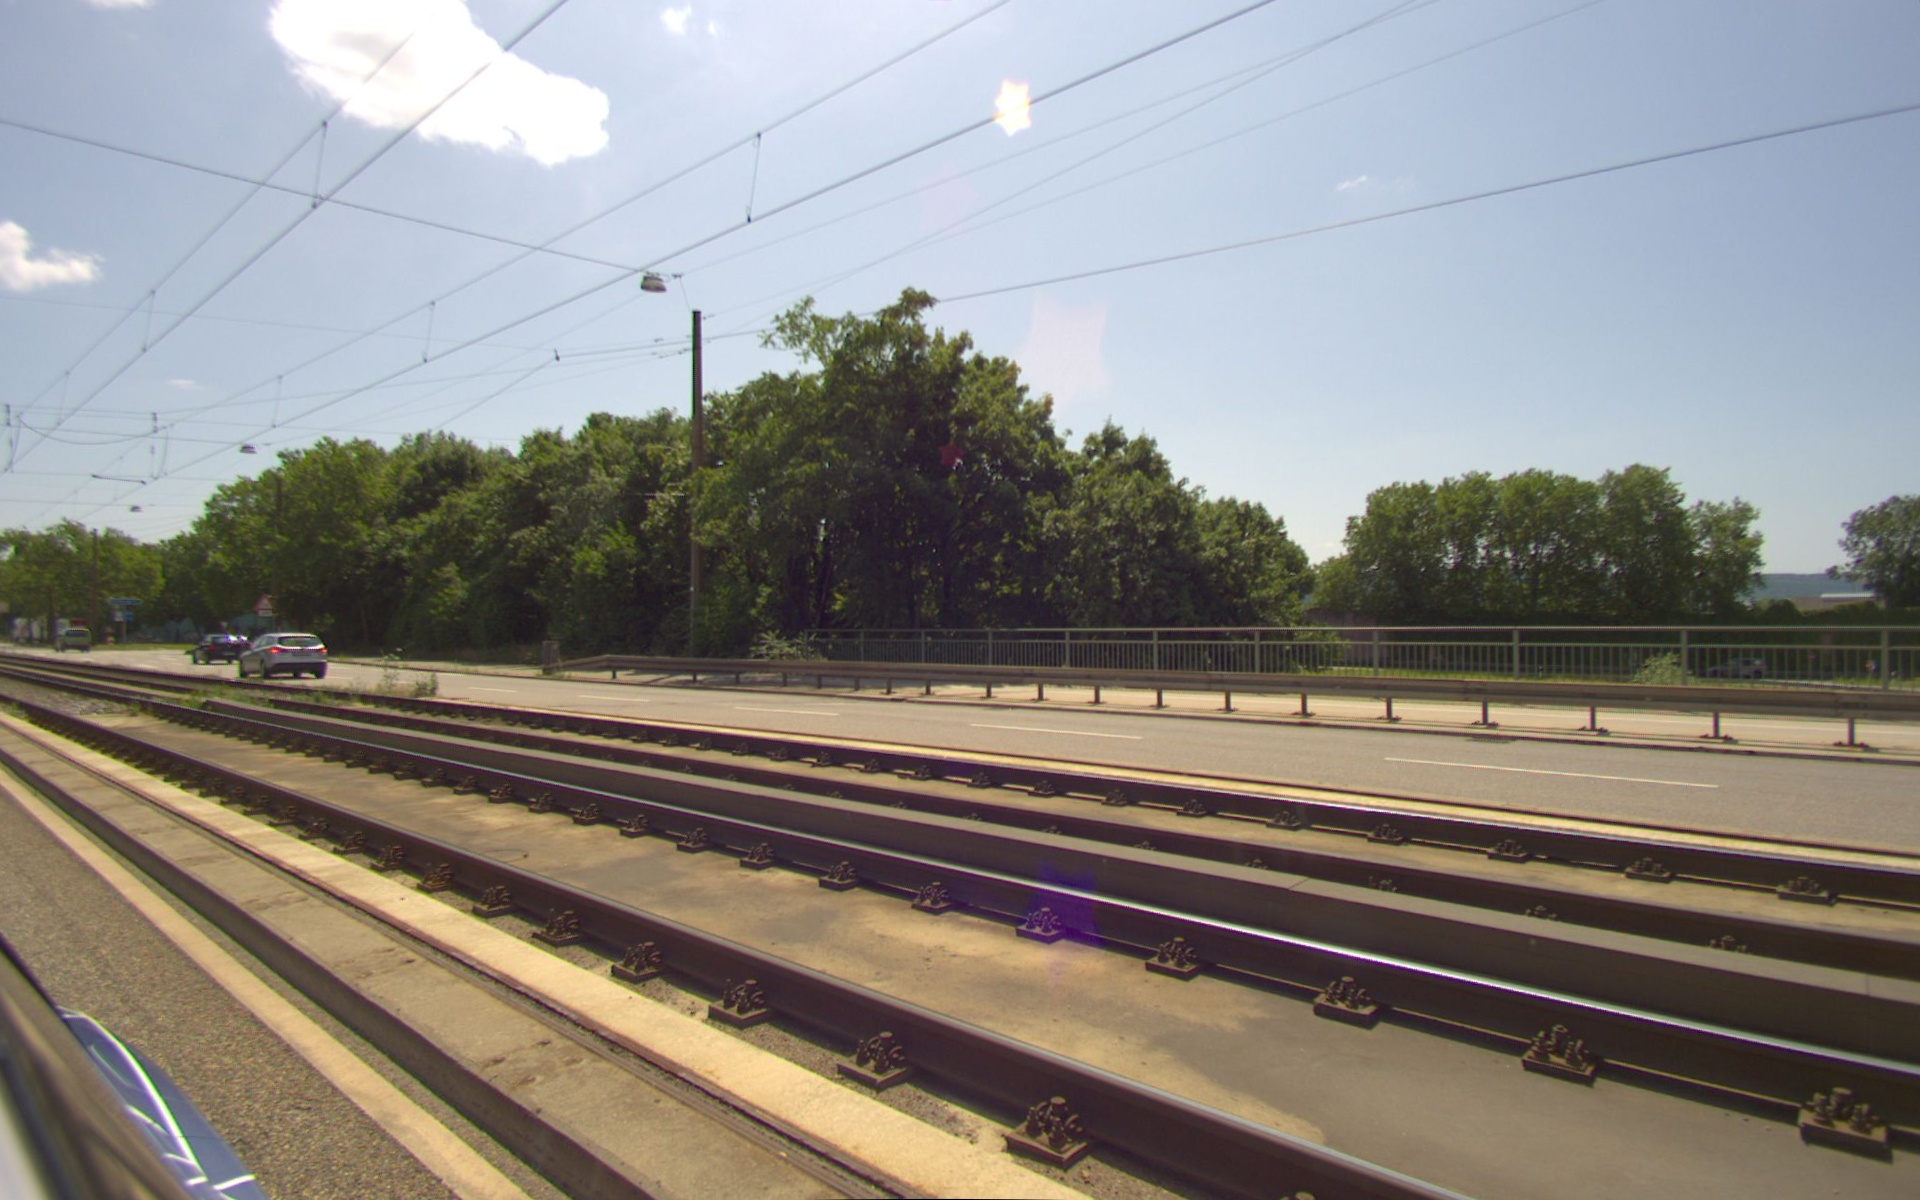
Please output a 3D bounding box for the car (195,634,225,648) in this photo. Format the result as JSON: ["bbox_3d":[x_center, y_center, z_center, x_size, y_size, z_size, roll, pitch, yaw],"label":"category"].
[{"bbox_3d":[-102.644,5.629,138.507,3.368,1.806,1.557,-1,-2,16],"label":"car"}]

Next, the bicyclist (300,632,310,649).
[{"bbox_3d":[-52.805,3.248,81.628,0.562,1.378,0.632,-1,0,-43],"label":"bicyclist"}]

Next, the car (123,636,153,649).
[{"bbox_3d":[-115.797,6.016,142.586,3.368,1.806,1.557,-1,-2,16],"label":"car"}]

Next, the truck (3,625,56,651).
[{"bbox_3d":[-140.181,5.739,152.488,6.717,3.730,3.392,-1,-2,23],"label":"truck"}]

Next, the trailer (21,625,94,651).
[{"bbox_3d":[-133.216,5.629,149.348,12.034,3.683,3.361,-1,-2,24],"label":"trailer"}]

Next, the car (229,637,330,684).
[{"bbox_3d":[-22.673,1.965,33.663,4.623,1.431,1.693,-1,-2,42],"label":"car"}]

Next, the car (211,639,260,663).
[{"bbox_3d":[-42.770,2.989,59.705,3.928,1.357,1.546,-1,-2,42],"label":"car"}]

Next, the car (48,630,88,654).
[{"bbox_3d":[-72.136,3.375,81.826,5.177,1.940,1.792,-1,-2,42],"label":"car"}]

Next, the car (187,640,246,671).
[{"bbox_3d":[-36.973,2.715,50.300,3.936,1.411,1.557,-1,-2,41],"label":"car"}]

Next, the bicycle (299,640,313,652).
[{"bbox_3d":[-52.792,3.700,81.624,0.579,0.825,2.070,-2,1,-43],"label":"bicycle"}]
